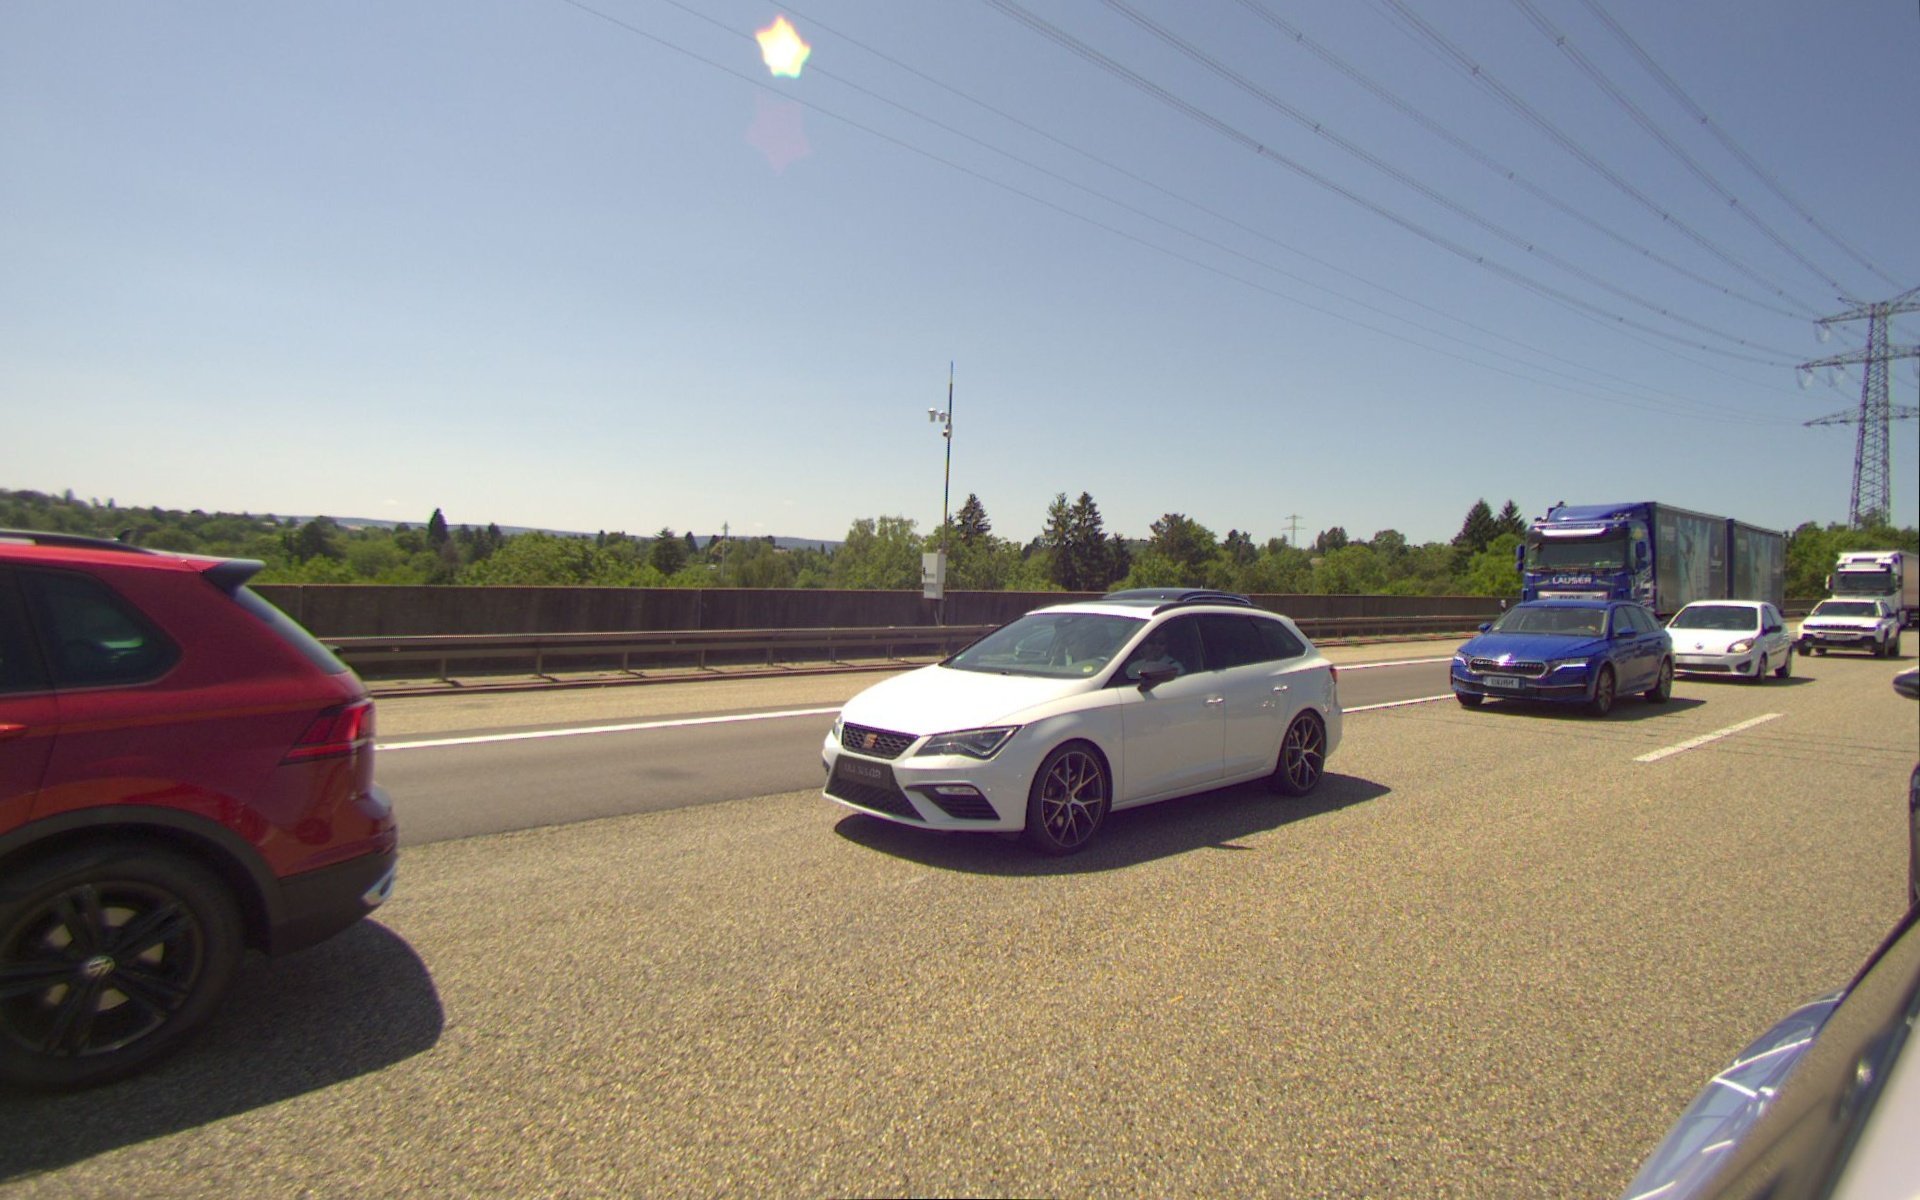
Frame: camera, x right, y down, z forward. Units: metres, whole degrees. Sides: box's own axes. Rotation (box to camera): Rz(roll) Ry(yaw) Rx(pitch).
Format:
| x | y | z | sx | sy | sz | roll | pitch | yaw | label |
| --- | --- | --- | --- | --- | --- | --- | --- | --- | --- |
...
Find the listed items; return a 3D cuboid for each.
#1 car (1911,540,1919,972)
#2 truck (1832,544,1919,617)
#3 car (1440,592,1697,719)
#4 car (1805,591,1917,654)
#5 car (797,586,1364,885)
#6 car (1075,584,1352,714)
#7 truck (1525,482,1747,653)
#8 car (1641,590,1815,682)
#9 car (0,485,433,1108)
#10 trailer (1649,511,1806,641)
| x | y | z | sx | sy | sz | roll | pitch | yaw | label |
| --- | --- | --- | --- | --- | --- | --- | --- | --- | --- |
| 5.754 | 0.597 | 4.593 | 3.931 | 1.683 | 1.738 | 0 | 0 | -41 | car |
| 49.772 | -1.004 | 54.301 | 10.776 | 3.604 | 2.983 | 0 | 0 | -41 | truck |
| 8.398 | 0.640 | 13.831 | 4.135 | 1.463 | 1.739 | 0 | 1 | -40 | car |
| 23.902 | 0.551 | 26.818 | 4.024 | 1.522 | 1.761 | 0 | 1 | -42 | car |
| 1.039 | 0.671 | 7.158 | 4.003 | 1.508 | 1.841 | 0 | 0 | -42 | car |
| 3.593 | 0.569 | 13.989 | 4.034 | 1.546 | 1.739 | 0 | 0 | -41 | car |
| 19.373 | -0.795 | 28.631 | 10.262 | 4.118 | 2.527 | 0 | 0 | -40 | truck |
| 14.500 | 0.605 | 19.041 | 4.021 | 1.522 | 1.762 | 0 | 1 | -40 | car |
| -3.925 | 0.518 | 2.735 | 4.151 | 1.683 | 1.778 | 0 | 1 | -41 | car |
| 26.449 | -0.749 | 34.707 | 8.329 | 3.995 | 2.571 | 0 | 0 | -40 | trailer |
